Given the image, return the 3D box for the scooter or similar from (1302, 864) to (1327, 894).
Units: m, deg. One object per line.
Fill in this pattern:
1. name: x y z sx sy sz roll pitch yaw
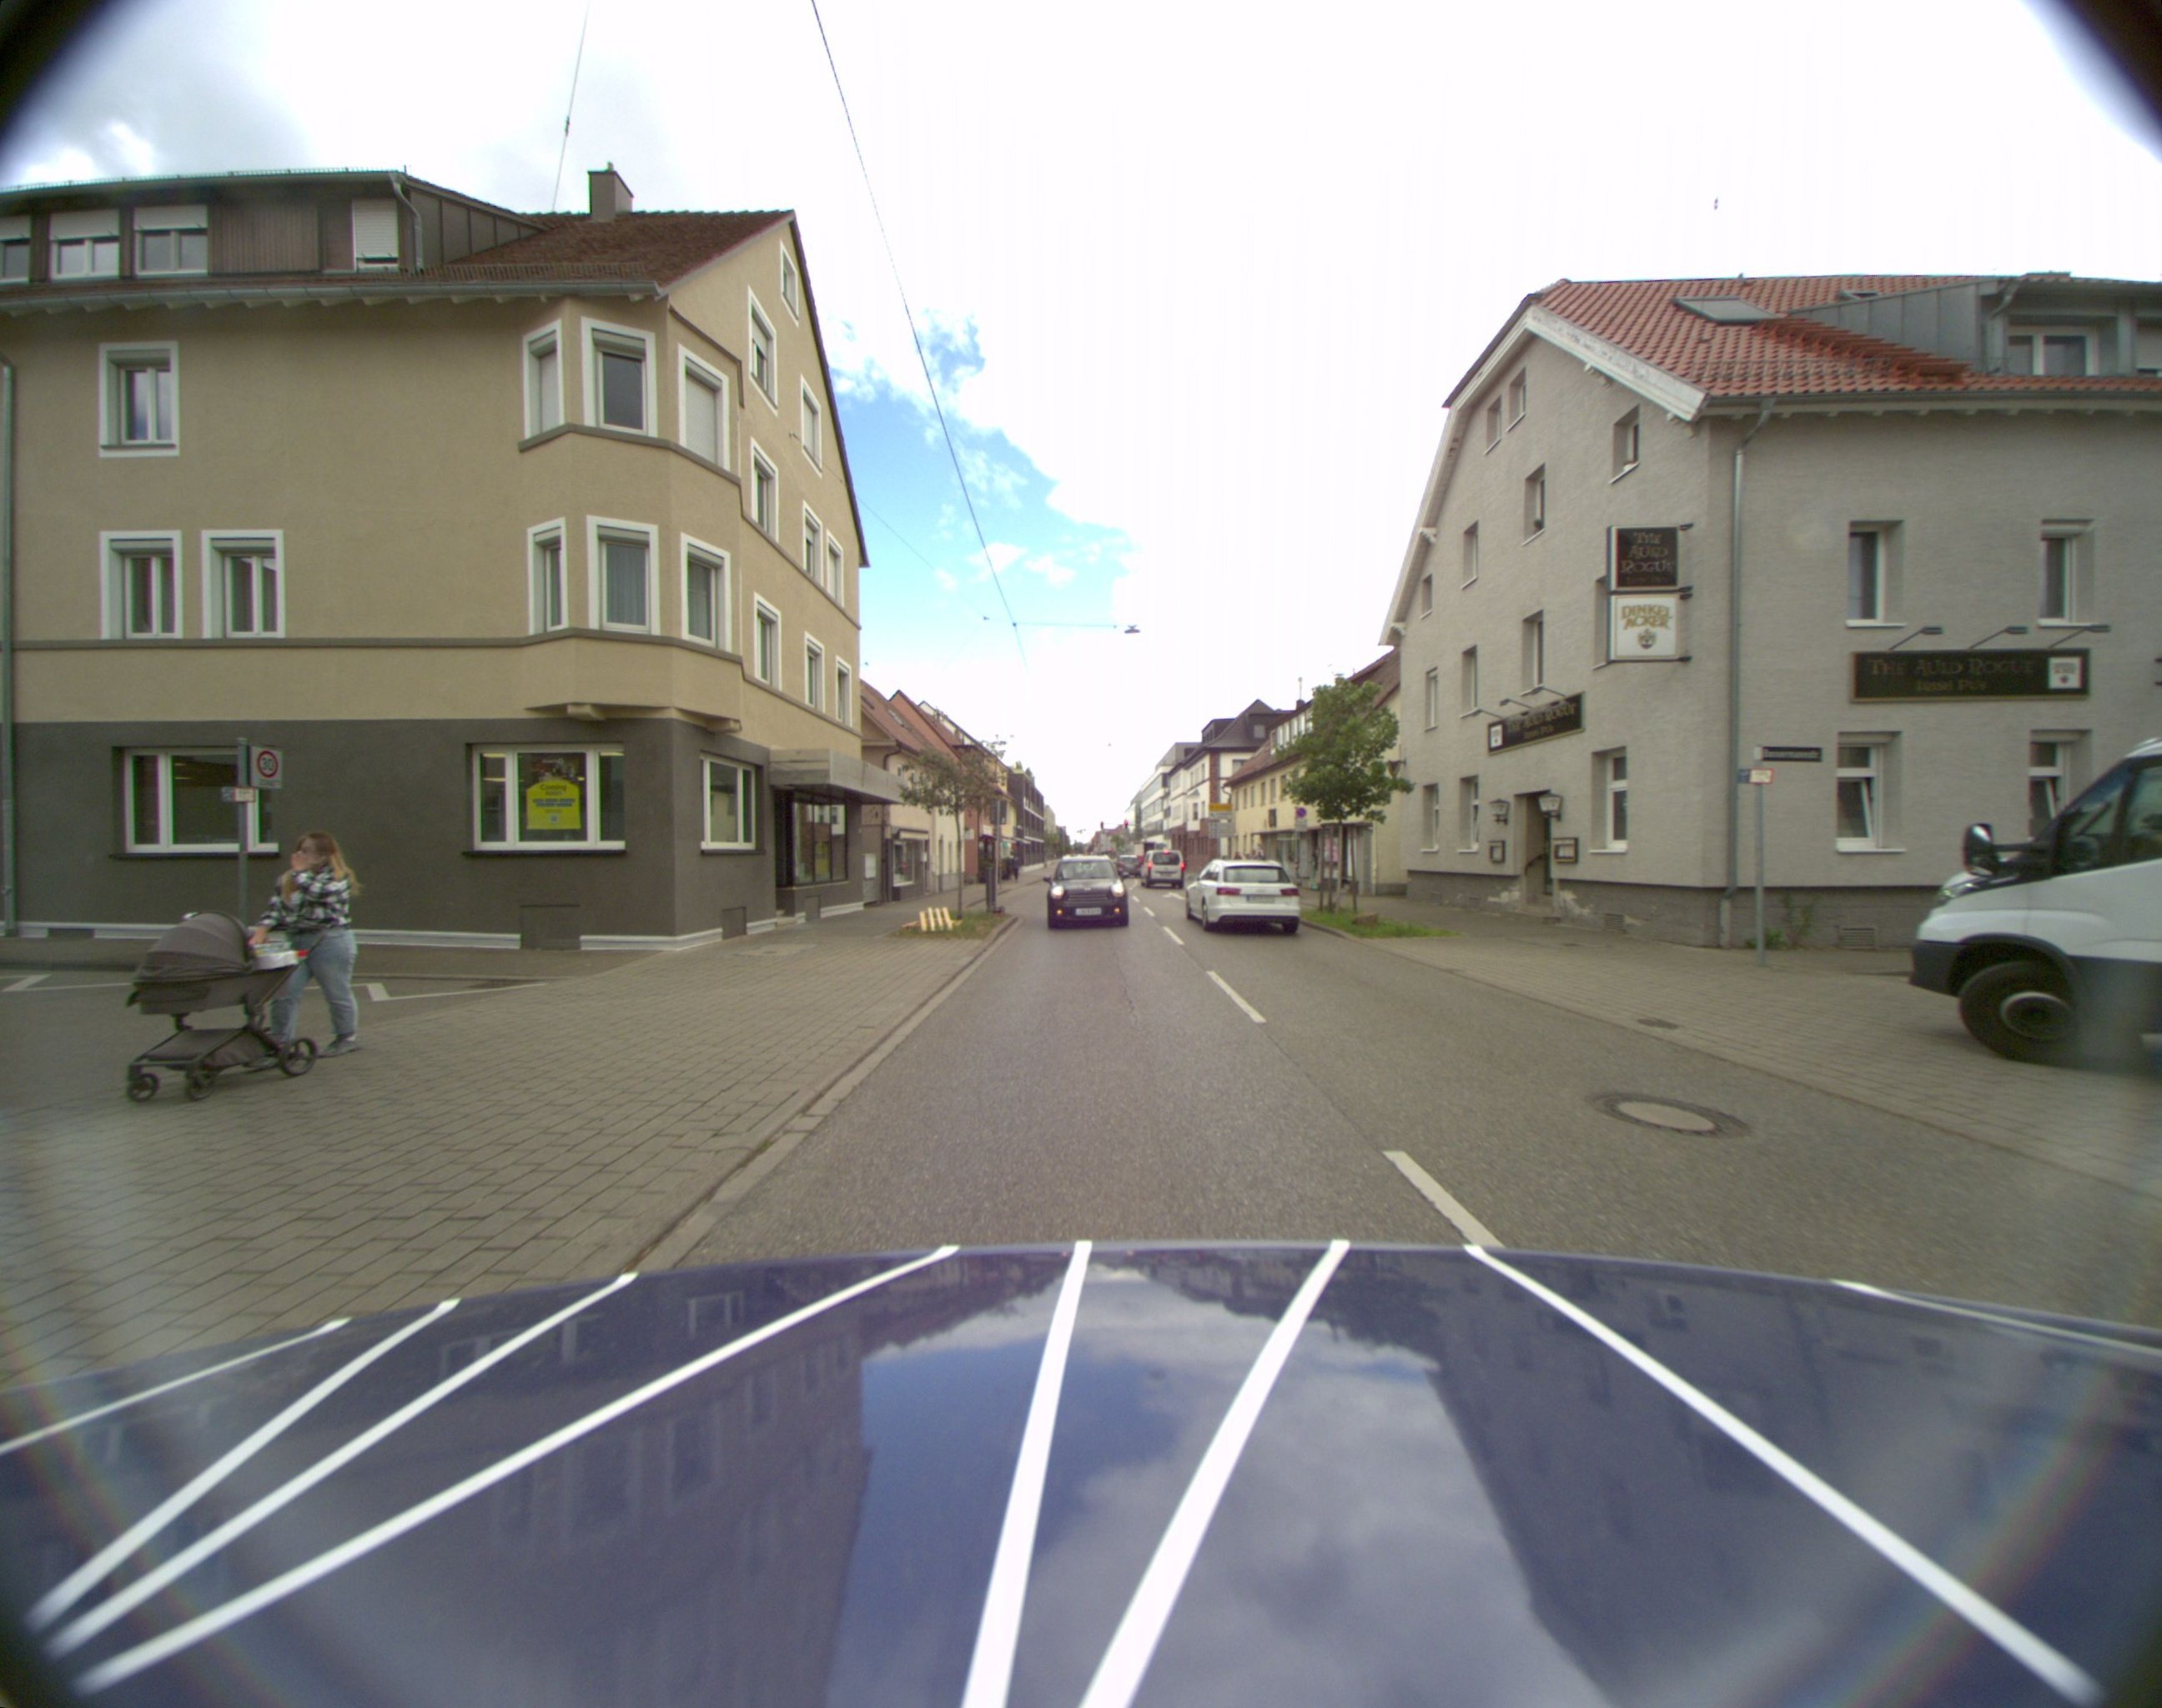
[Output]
1. scooter or similar: 9.532 1.003 31.060 0.529 1.163 1.721 -2 0 1

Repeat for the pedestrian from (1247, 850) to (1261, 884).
1. pedestrian: 8.743 0.654 38.322 0.555 1.727 0.648 0 1 1

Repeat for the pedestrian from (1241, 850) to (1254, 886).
1. pedestrian: 8.070 0.673 36.819 0.497 1.727 0.648 0 1 1

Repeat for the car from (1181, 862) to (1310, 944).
1. car: 3.370 0.940 16.435 1.847 1.425 4.543 1 0 1

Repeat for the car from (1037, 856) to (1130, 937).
1. car: 0.085 0.892 17.990 1.847 1.571 4.429 -3 0 1

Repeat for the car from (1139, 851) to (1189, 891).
1. car: 3.949 0.781 36.782 1.998 1.785 4.277 0 0 1

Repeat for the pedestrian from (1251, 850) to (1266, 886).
1. pedestrian: 8.622 0.664 36.927 0.555 1.727 0.648 0 1 1

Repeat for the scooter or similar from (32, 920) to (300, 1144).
1. scooter or similar: -5.820 1.084 4.898 0.591 1.225 0.891 -2 1 1

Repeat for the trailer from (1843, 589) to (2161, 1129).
1. trailer: 7.538 -0.004 2.851 2.508 3.200 7.138 -1 -1 4

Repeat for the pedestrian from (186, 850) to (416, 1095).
1. pedestrian: -5.872 0.833 5.786 0.752 1.710 0.900 -2 1 1

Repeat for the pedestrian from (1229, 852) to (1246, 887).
1. pedestrian: 7.719 0.757 37.535 0.679 1.727 0.717 0 1 1

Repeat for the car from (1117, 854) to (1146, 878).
1. car: 3.547 0.823 54.432 1.784 1.543 4.074 2 0 0

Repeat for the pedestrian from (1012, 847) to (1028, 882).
1. pedestrian: -3.661 0.609 45.763 0.826 2.062 1.010 2 1 -3
